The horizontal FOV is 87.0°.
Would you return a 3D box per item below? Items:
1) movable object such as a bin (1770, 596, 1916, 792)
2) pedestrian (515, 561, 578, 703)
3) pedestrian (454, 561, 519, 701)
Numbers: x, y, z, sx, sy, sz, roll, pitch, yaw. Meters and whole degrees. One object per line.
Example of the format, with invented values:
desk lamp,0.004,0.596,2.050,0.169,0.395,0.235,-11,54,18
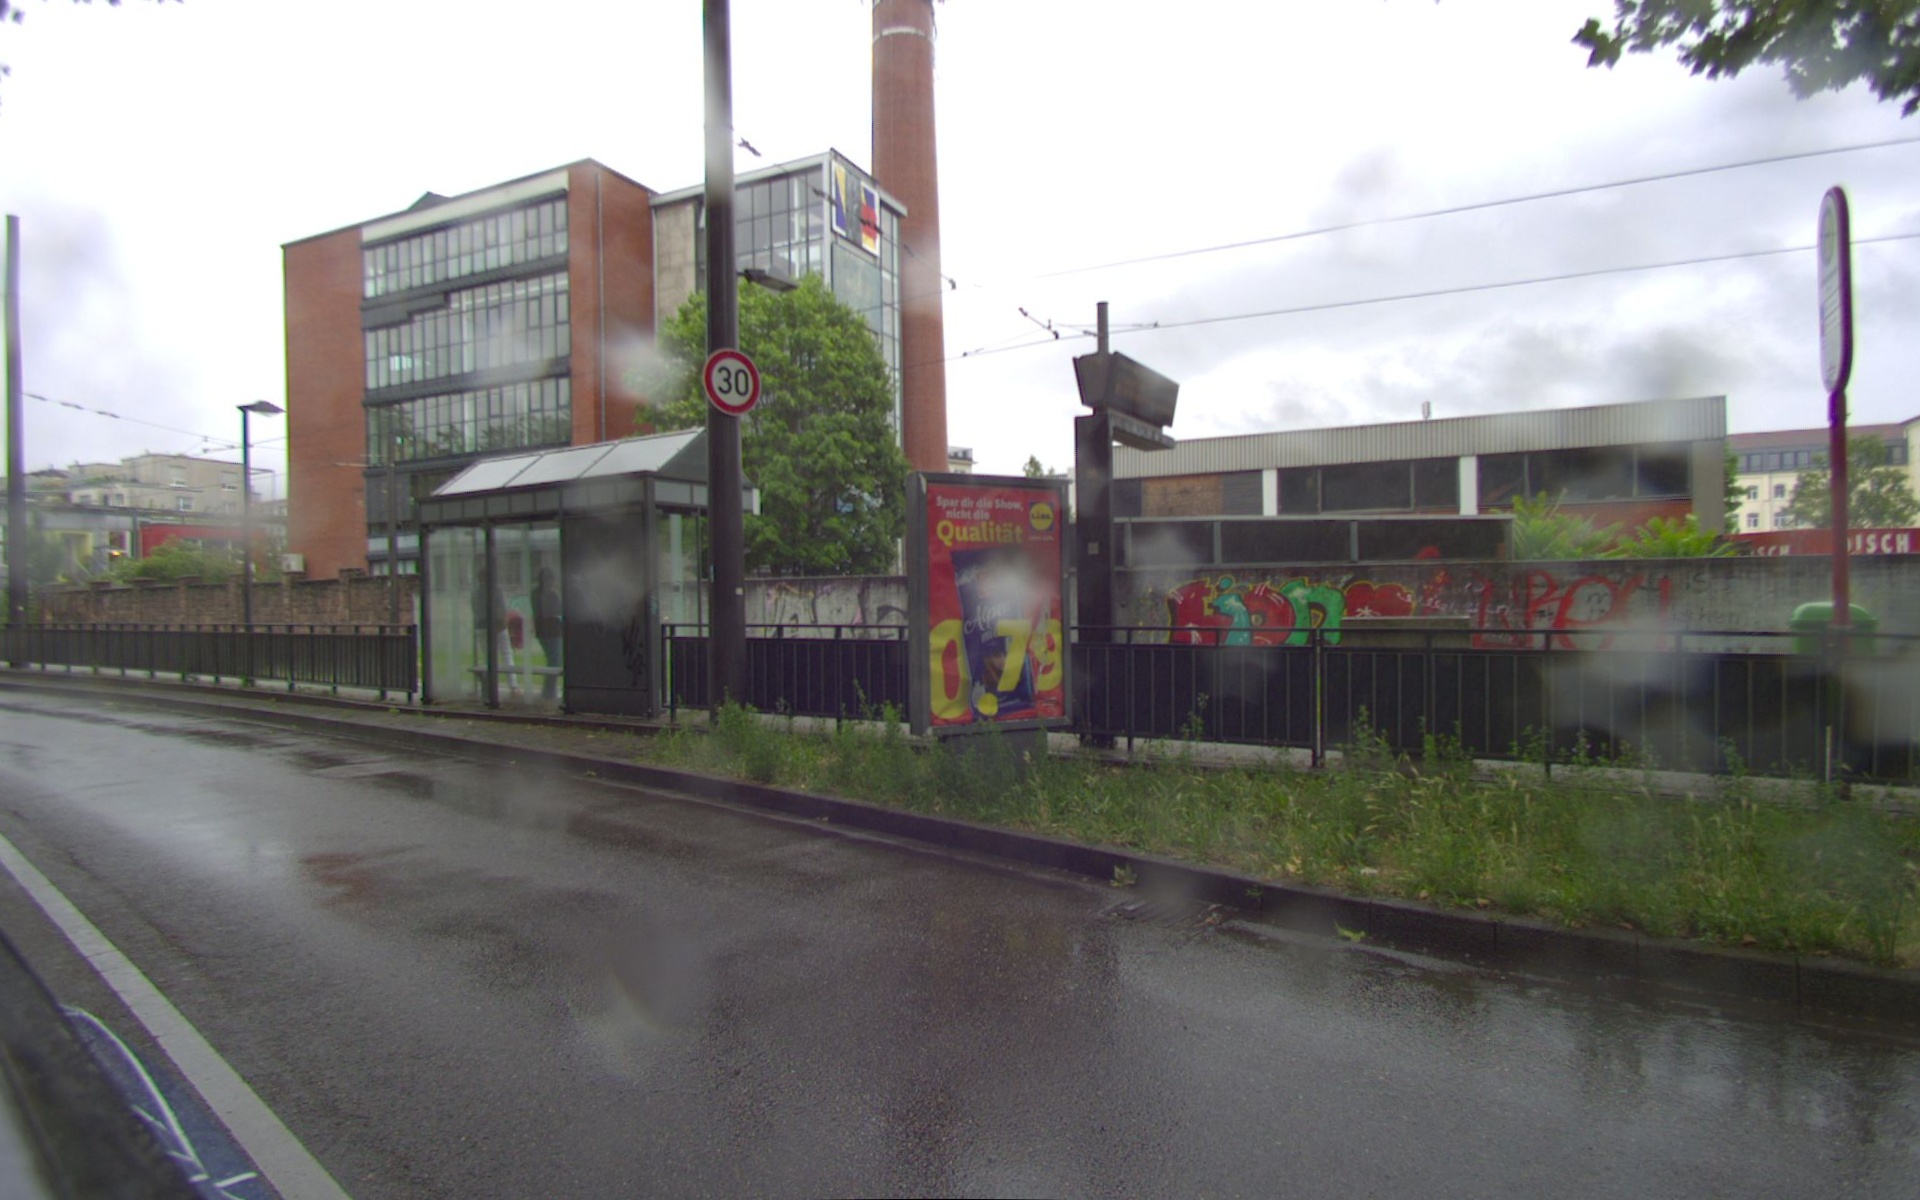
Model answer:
movable object such as a bin,5.200,0.537,5.986,0.528,1.098,0.414,-1,-2,25
pedestrian,-5.197,0.401,12.745,0.560,1.744,0.583,0,-2,-3
pedestrian,-6.039,0.392,12.926,0.560,1.744,0.583,0,-2,-1
